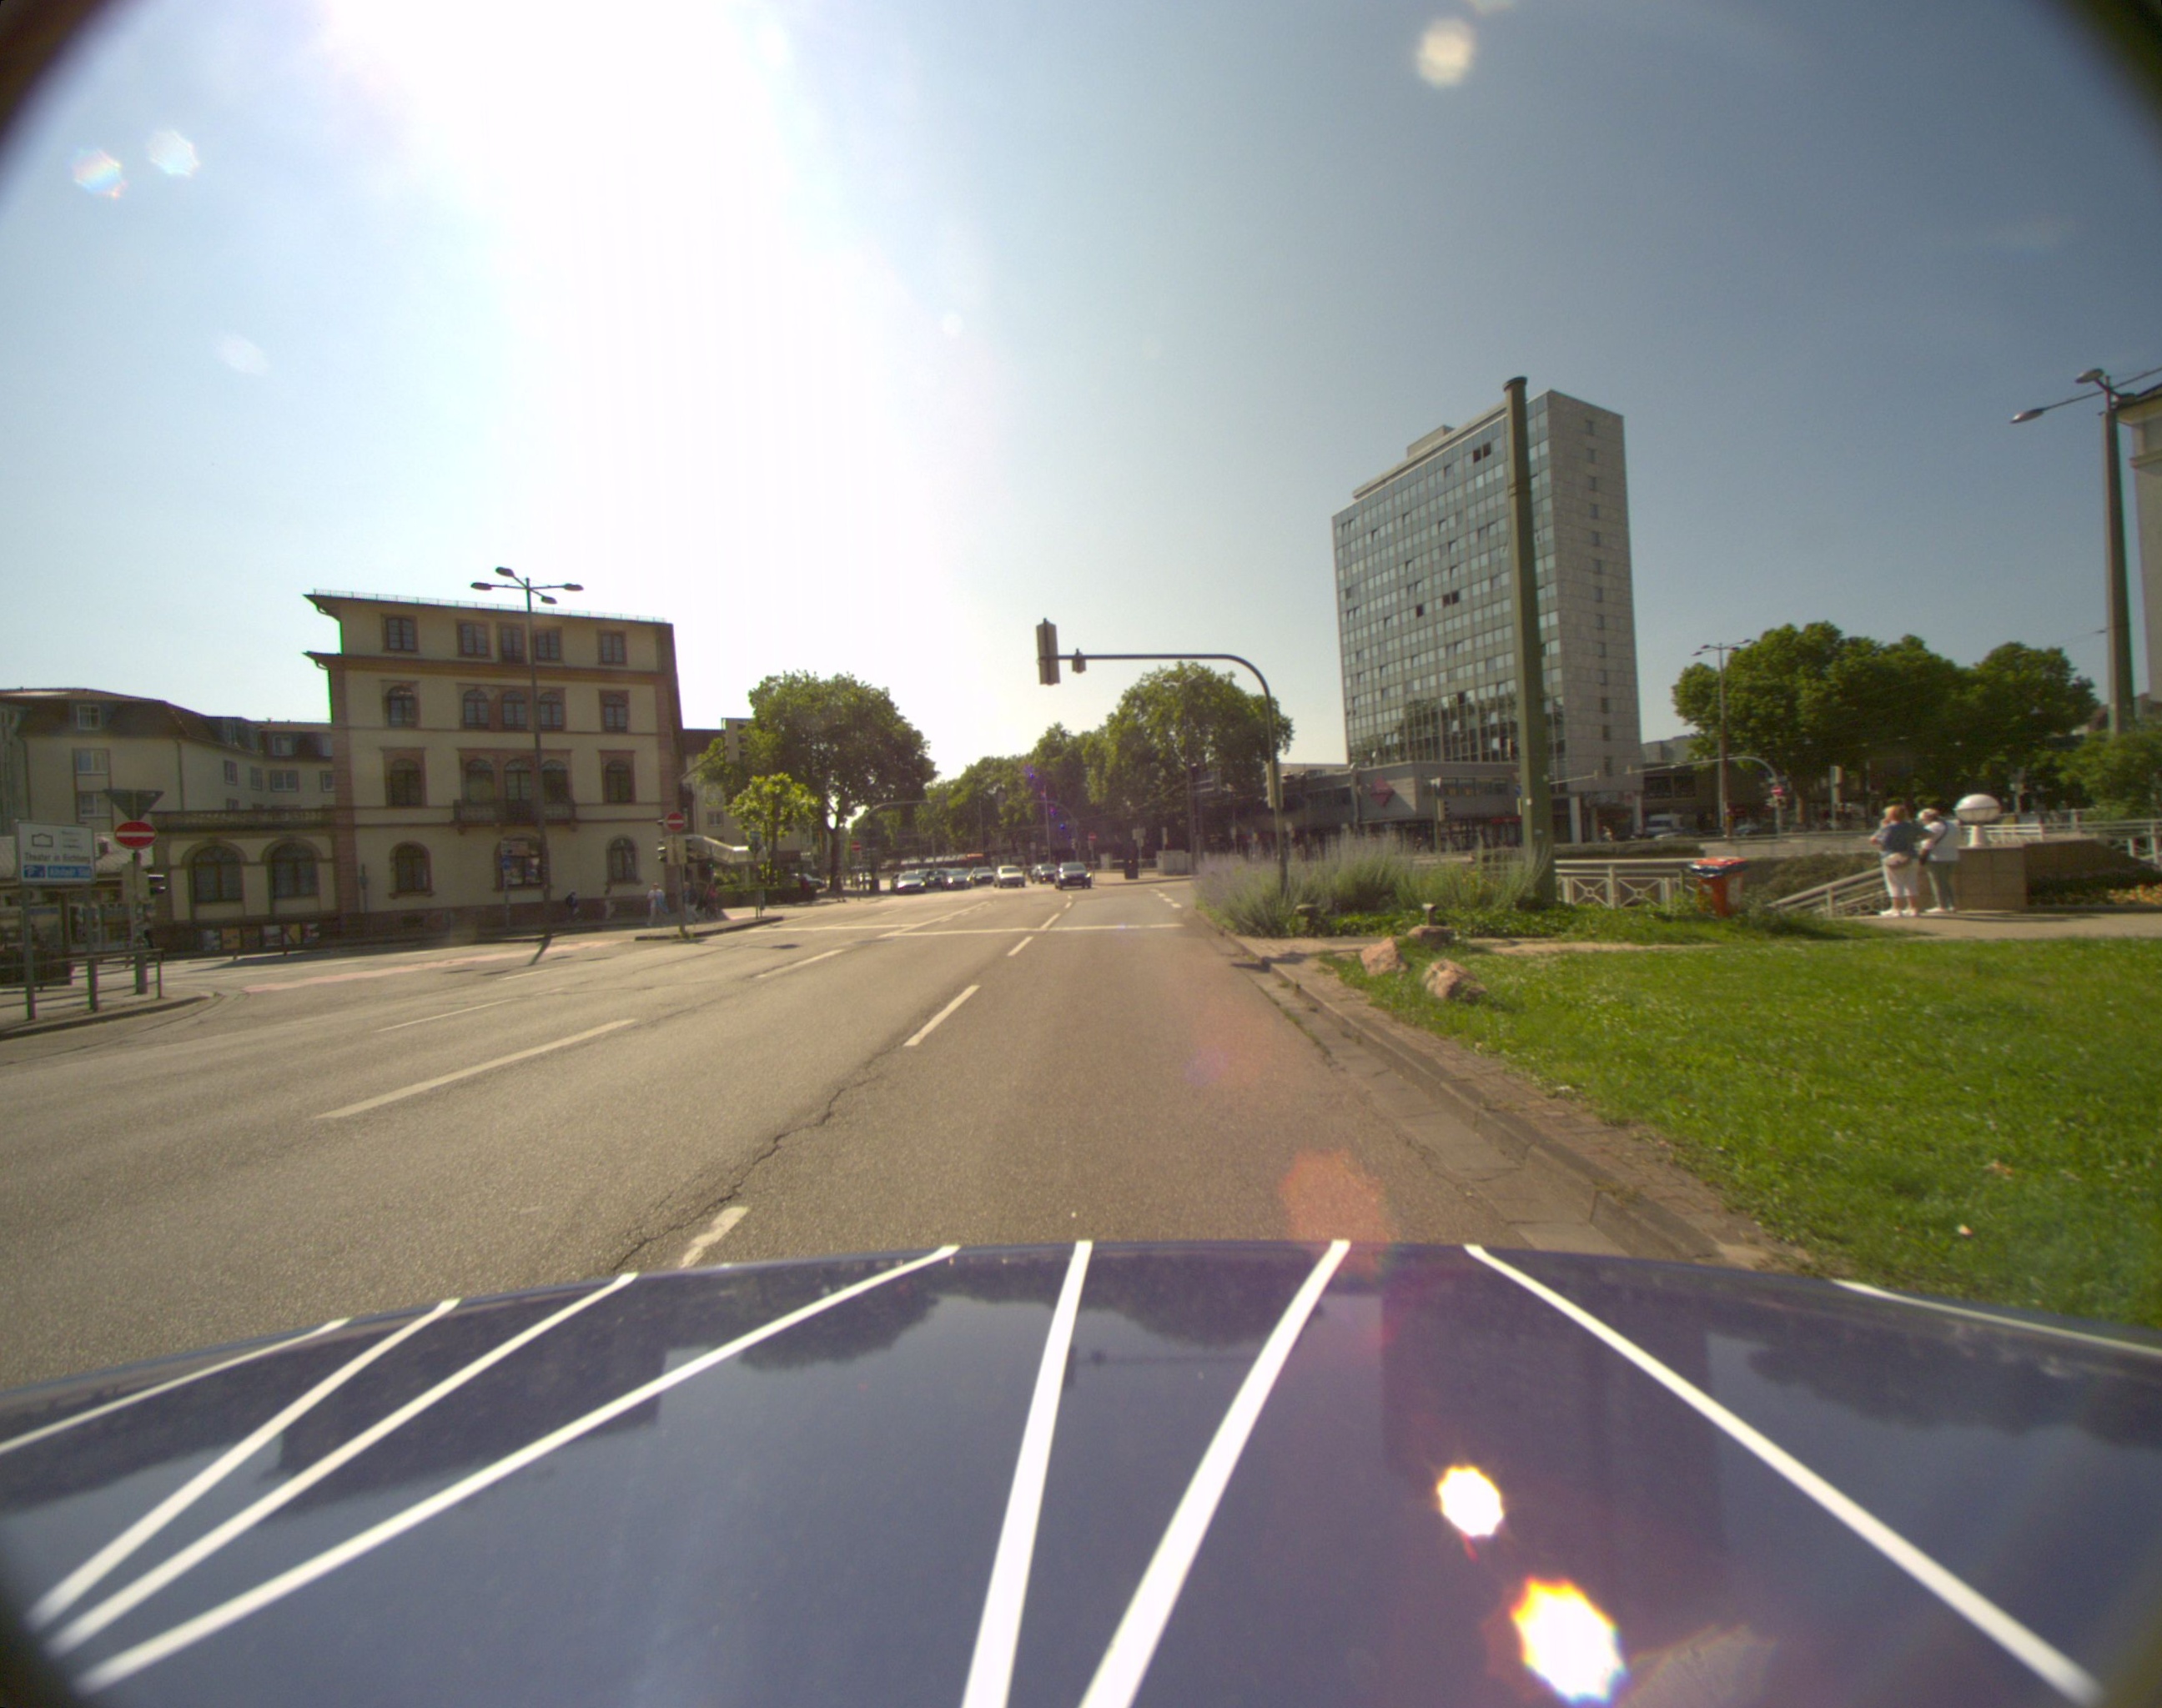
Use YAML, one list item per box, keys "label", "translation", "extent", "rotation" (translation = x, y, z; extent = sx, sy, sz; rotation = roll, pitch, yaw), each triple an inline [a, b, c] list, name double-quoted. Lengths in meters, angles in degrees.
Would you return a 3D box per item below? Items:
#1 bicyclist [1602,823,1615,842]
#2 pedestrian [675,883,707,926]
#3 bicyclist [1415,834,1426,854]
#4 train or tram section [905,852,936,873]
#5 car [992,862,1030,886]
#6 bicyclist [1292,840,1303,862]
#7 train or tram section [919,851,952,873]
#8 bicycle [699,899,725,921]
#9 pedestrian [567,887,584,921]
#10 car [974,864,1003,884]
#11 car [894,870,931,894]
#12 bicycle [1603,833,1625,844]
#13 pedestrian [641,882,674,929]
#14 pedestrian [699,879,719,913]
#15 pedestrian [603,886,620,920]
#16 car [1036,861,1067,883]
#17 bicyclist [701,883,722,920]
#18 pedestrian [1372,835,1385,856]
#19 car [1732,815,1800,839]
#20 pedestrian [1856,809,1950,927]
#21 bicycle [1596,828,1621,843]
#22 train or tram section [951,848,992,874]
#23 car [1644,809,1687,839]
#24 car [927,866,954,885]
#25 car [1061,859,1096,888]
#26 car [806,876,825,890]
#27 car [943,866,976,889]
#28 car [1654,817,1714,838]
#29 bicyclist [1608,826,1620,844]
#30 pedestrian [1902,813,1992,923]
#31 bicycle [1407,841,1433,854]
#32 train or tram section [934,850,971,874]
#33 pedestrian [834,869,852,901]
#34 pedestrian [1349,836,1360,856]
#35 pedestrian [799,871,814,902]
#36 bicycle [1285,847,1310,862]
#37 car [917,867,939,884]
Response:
- label: "bicyclist"
  translation: [48.932, -1.965, 70.475]
  extent: [0.684, 1.758, 0.696]
  rotation: [-3, 2, -10]
- label: "pedestrian"
  translation: [-15.068, 1.932, 29.398]
  extent: [0.773, 1.563, 0.829]
  rotation: [-4, 0, -7]
- label: "bicyclist"
  translation: [30.132, -0.887, 67.467]
  extent: [0.683, 1.677, 0.584]
  rotation: [-3, 0, 4]
- label: "train or tram section"
  translation: [-27.406, 1.485, 129.583]
  extent: [2.738, 3.248, 8.720]
  rotation: [-4, 0, -27]
- label: "car"
  translation: [-4.796, 1.364, 51.451]
  extent: [1.721, 1.491, 4.485]
  rotation: [-2, -1, -17]
- label: "bicyclist"
  translation: [17.359, -0.224, 60.987]
  extent: [0.683, 1.697, 0.521]
  rotation: [-3, 1, 0]
- label: "train or tram section"
  translation: [-23.424, 1.345, 121.819]
  extent: [2.738, 3.248, 8.720]
  rotation: [-4, 0, -27]
- label: "bicycle"
  translation: [-16.745, 2.519, 34.536]
  extent: [0.593, 0.850, 1.743]
  rotation: [-4, 0, -11]
- label: "pedestrian"
  translation: [-25.473, 2.517, 38.297]
  extent: [0.536, 1.639, 0.673]
  rotation: [-4, 0, -24]
- label: "car"
  translation: [-7.540, 1.617, 61.729]
  extent: [1.793, 1.514, 3.969]
  rotation: [-2, 0, -14]
- label: "car"
  translation: [-11.386, 1.849, 51.098]
  extent: [1.794, 1.443, 3.967]
  rotation: [-2, 0, -21]
- label: "bicycle"
  translation: [48.053, -1.394, 68.454]
  extent: [1.811, 0.878, 0.592]
  rotation: [-4, 2, -16]
- label: "pedestrian"
  translation: [-15.873, 1.921, 28.494]
  extent: [0.754, 1.650, 0.829]
  rotation: [-4, 0, -8]
- label: "pedestrian"
  translation: [-19.403, 2.176, 39.627]
  extent: [0.845, 1.685, 0.743]
  rotation: [-4, 0, -28]
- label: "pedestrian"
  translation: [-23.328, 2.424, 37.755]
  extent: [0.536, 1.639, 0.579]
  rotation: [-4, 0, -24]
- label: "car"
  translation: [-2.211, 1.314, 56.417]
  extent: [1.792, 1.508, 3.971]
  rotation: [-2, 0, -9]
- label: "bicyclist"
  translation: [-16.740, 2.141, 34.430]
  extent: [0.593, 1.597, 0.683]
  rotation: [-4, 0, -11]
- label: "pedestrian"
  translation: [26.078, -0.767, 66.611]
  extent: [0.825, 1.825, 0.670]
  rotation: [-3, 1, -28]
- label: "car"
  translation: [52.804, -2.061, 58.565]
  extent: [4.080, 1.525, 1.881]
  rotation: [-3, 0, -14]
- label: "pedestrian"
  translation: [11.678, 0.192, 10.804]
  extent: [0.693, 1.584, 0.599]
  rotation: [-4, 0, -14]
- label: "bicycle"
  translation: [48.900, -1.690, 70.471]
  extent: [1.940, 1.292, 0.716]
  rotation: [-3, 2, -10]
- label: "train or tram section"
  translation: [-15.421, 1.062, 106.356]
  extent: [2.738, 3.248, 8.720]
  rotation: [-4, 0, -27]
- label: "car"
  translation: [60.165, -3.090, 78.202]
  extent: [4.642, 2.899, 1.744]
  rotation: [-3, 0, -29]
- label: "car"
  translation: [-12.022, 1.798, 64.820]
  extent: [1.793, 1.521, 3.968]
  rotation: [-2, 0, -16]
- label: "car"
  translation: [-0.107, 1.056, 42.060]
  extent: [1.791, 1.443, 4.281]
  rotation: [-2, 0, 1]
- label: "car"
  translation: [-27.832, 3.038, 79.566]
  extent: [1.592, 1.314, 3.573]
  rotation: [-4, 0, -22]
- label: "car"
  translation: [-8.680, 1.642, 54.004]
  extent: [1.793, 1.443, 3.968]
  rotation: [-2, 0, -16]
- label: "car"
  translation: [52.184, -2.278, 65.757]
  extent: [4.165, 1.451, 1.881]
  rotation: [-3, 0, -14]
- label: "bicyclist"
  translation: [48.012, -1.713, 68.433]
  extent: [0.684, 1.518, 0.582]
  rotation: [-4, 2, -16]
- label: "pedestrian"
  translation: [12.454, 0.192, 10.936]
  extent: [0.851, 1.501, 0.474]
  rotation: [-4, 0, -14]
- label: "bicycle"
  translation: [30.112, -0.581, 67.464]
  extent: [1.967, 1.096, 0.577]
  rotation: [-3, 0, 3]
- label: "train or tram section"
  translation: [-19.417, 1.203, 114.068]
  extent: [2.738, 3.248, 8.720]
  rotation: [-4, 0, -27]
- label: "pedestrian"
  translation: [-13.937, 1.817, 44.486]
  extent: [0.590, 1.834, 0.730]
  rotation: [-3, 1, 41]
- label: "pedestrian"
  translation: [25.392, -0.750, 70.459]
  extent: [0.822, 1.796, 0.672]
  rotation: [-2, 1, 11]
- label: "pedestrian"
  translation: [-16.423, 1.960, 45.493]
  extent: [0.727, 1.795, 0.651]
  rotation: [-4, 0, -20]
- label: "bicycle"
  translation: [17.359, 0.036, 60.986]
  extent: [1.815, 1.160, 0.521]
  rotation: [-3, 1, 1]
- label: "car"
  translation: [-14.389, 1.992, 71.597]
  extent: [1.792, 1.443, 3.971]
  rotation: [-2, 0, -8]
